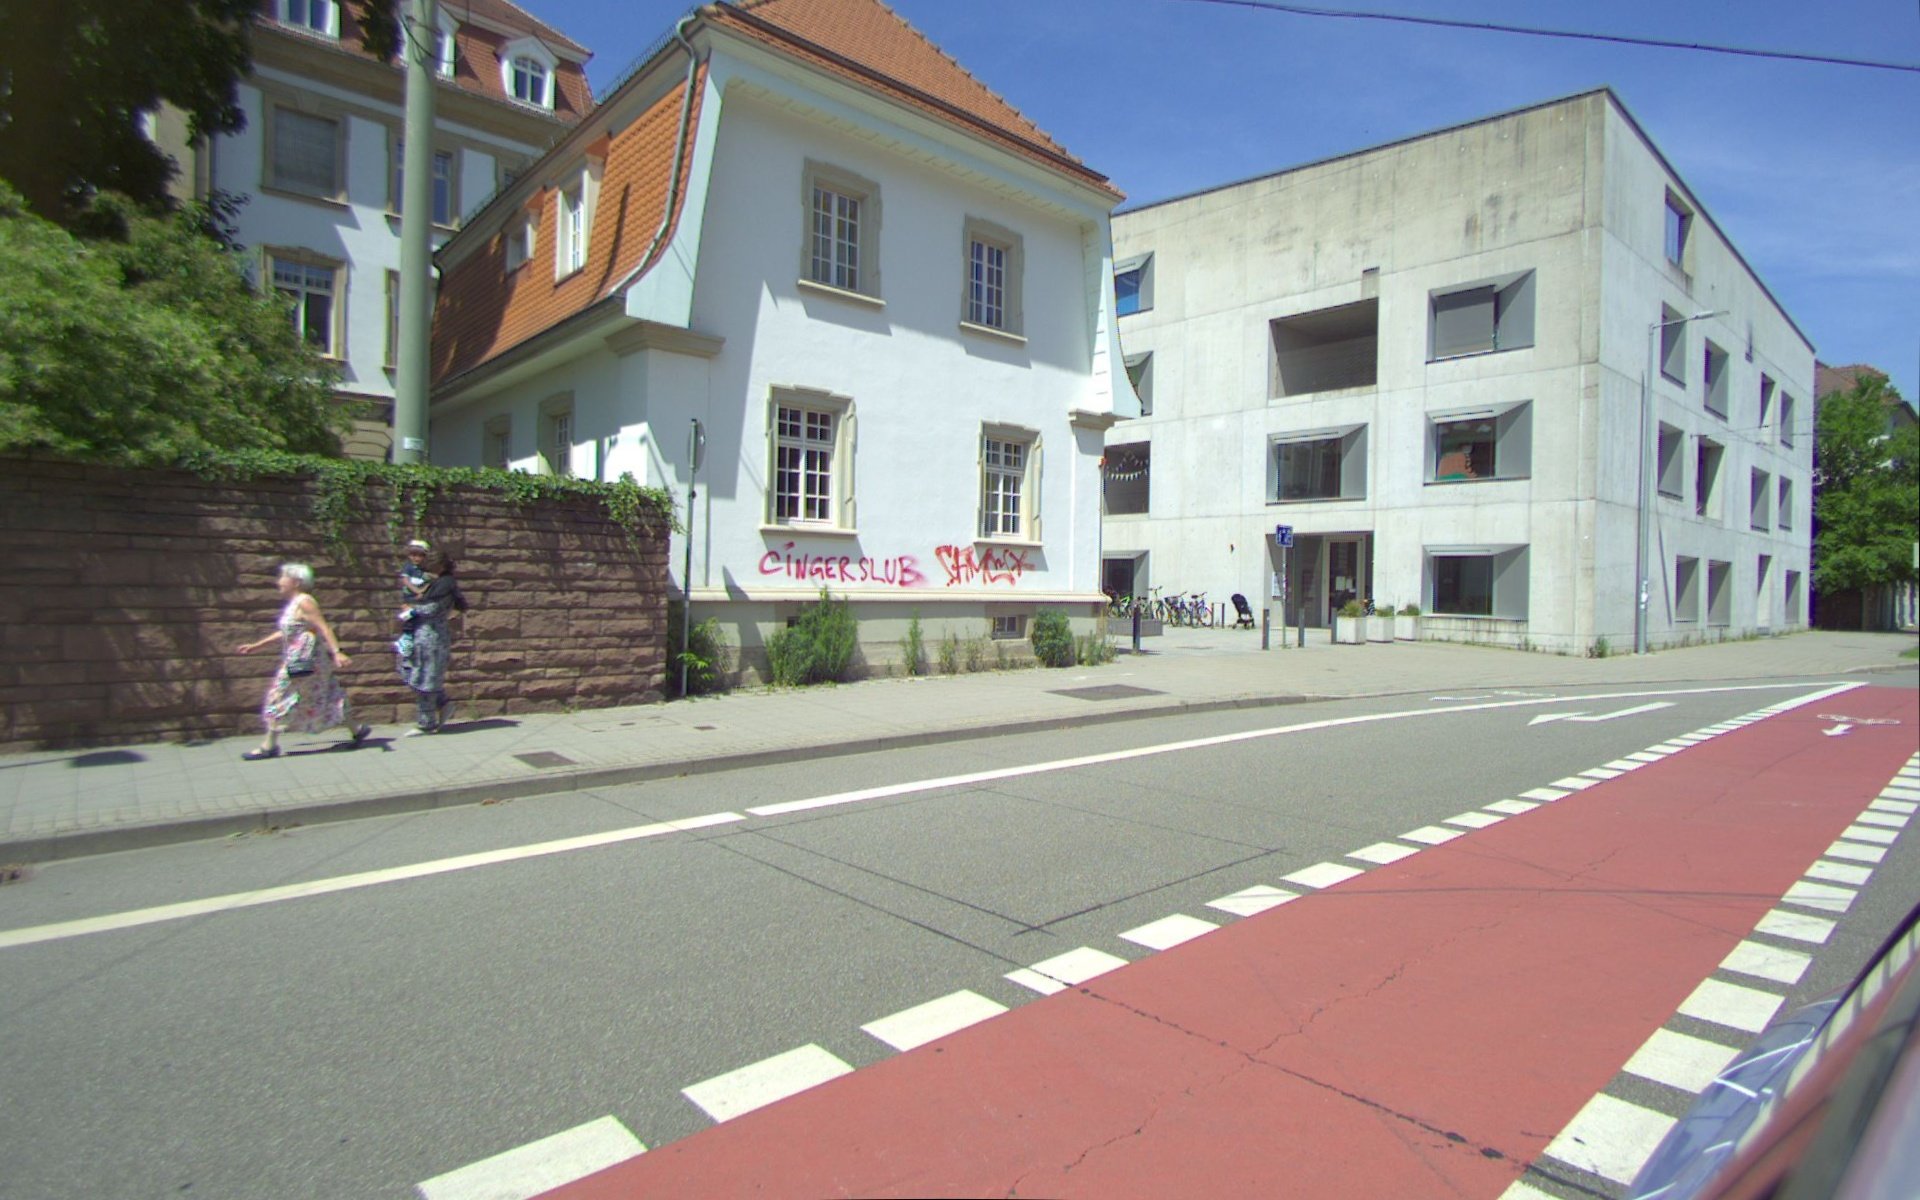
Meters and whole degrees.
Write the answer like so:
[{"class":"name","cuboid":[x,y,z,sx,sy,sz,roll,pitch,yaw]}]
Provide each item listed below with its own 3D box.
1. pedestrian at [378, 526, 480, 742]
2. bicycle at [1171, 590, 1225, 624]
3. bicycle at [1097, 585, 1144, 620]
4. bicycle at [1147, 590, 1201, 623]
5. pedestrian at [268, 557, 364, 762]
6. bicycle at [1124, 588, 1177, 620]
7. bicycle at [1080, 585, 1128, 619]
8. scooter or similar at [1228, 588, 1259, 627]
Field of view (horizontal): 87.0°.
[{"class":"pedestrian","cuboid":[-4.744,0.271,9.030,0.618,1.793,0.718,-1,7,-42]},{"class":"bicycle","cuboid":[7.399,0.192,31.353,0.650,1.016,2.167,1,1,42]},{"class":"bicycle","cuboid":[5.435,0.065,34.209,0.650,1.146,1.859,1,1,42]},{"class":"bicycle","cuboid":[6.765,0.176,31.897,0.650,0.997,2.167,1,1,42]},{"class":"pedestrian","cuboid":[-5.120,0.444,8.042,0.586,1.552,0.517,1,1,-37]},{"class":"bicycle","cuboid":[6.198,0.111,32.879,0.650,0.997,2.167,1,1,42]},{"class":"bicycle","cuboid":[4.954,0.046,34.761,0.650,1.129,1.902,1,1,42]},{"class":"scooter or similar","cuboid":[8.654,0.229,30.851,0.532,1.154,0.949,1,1,42]}]
